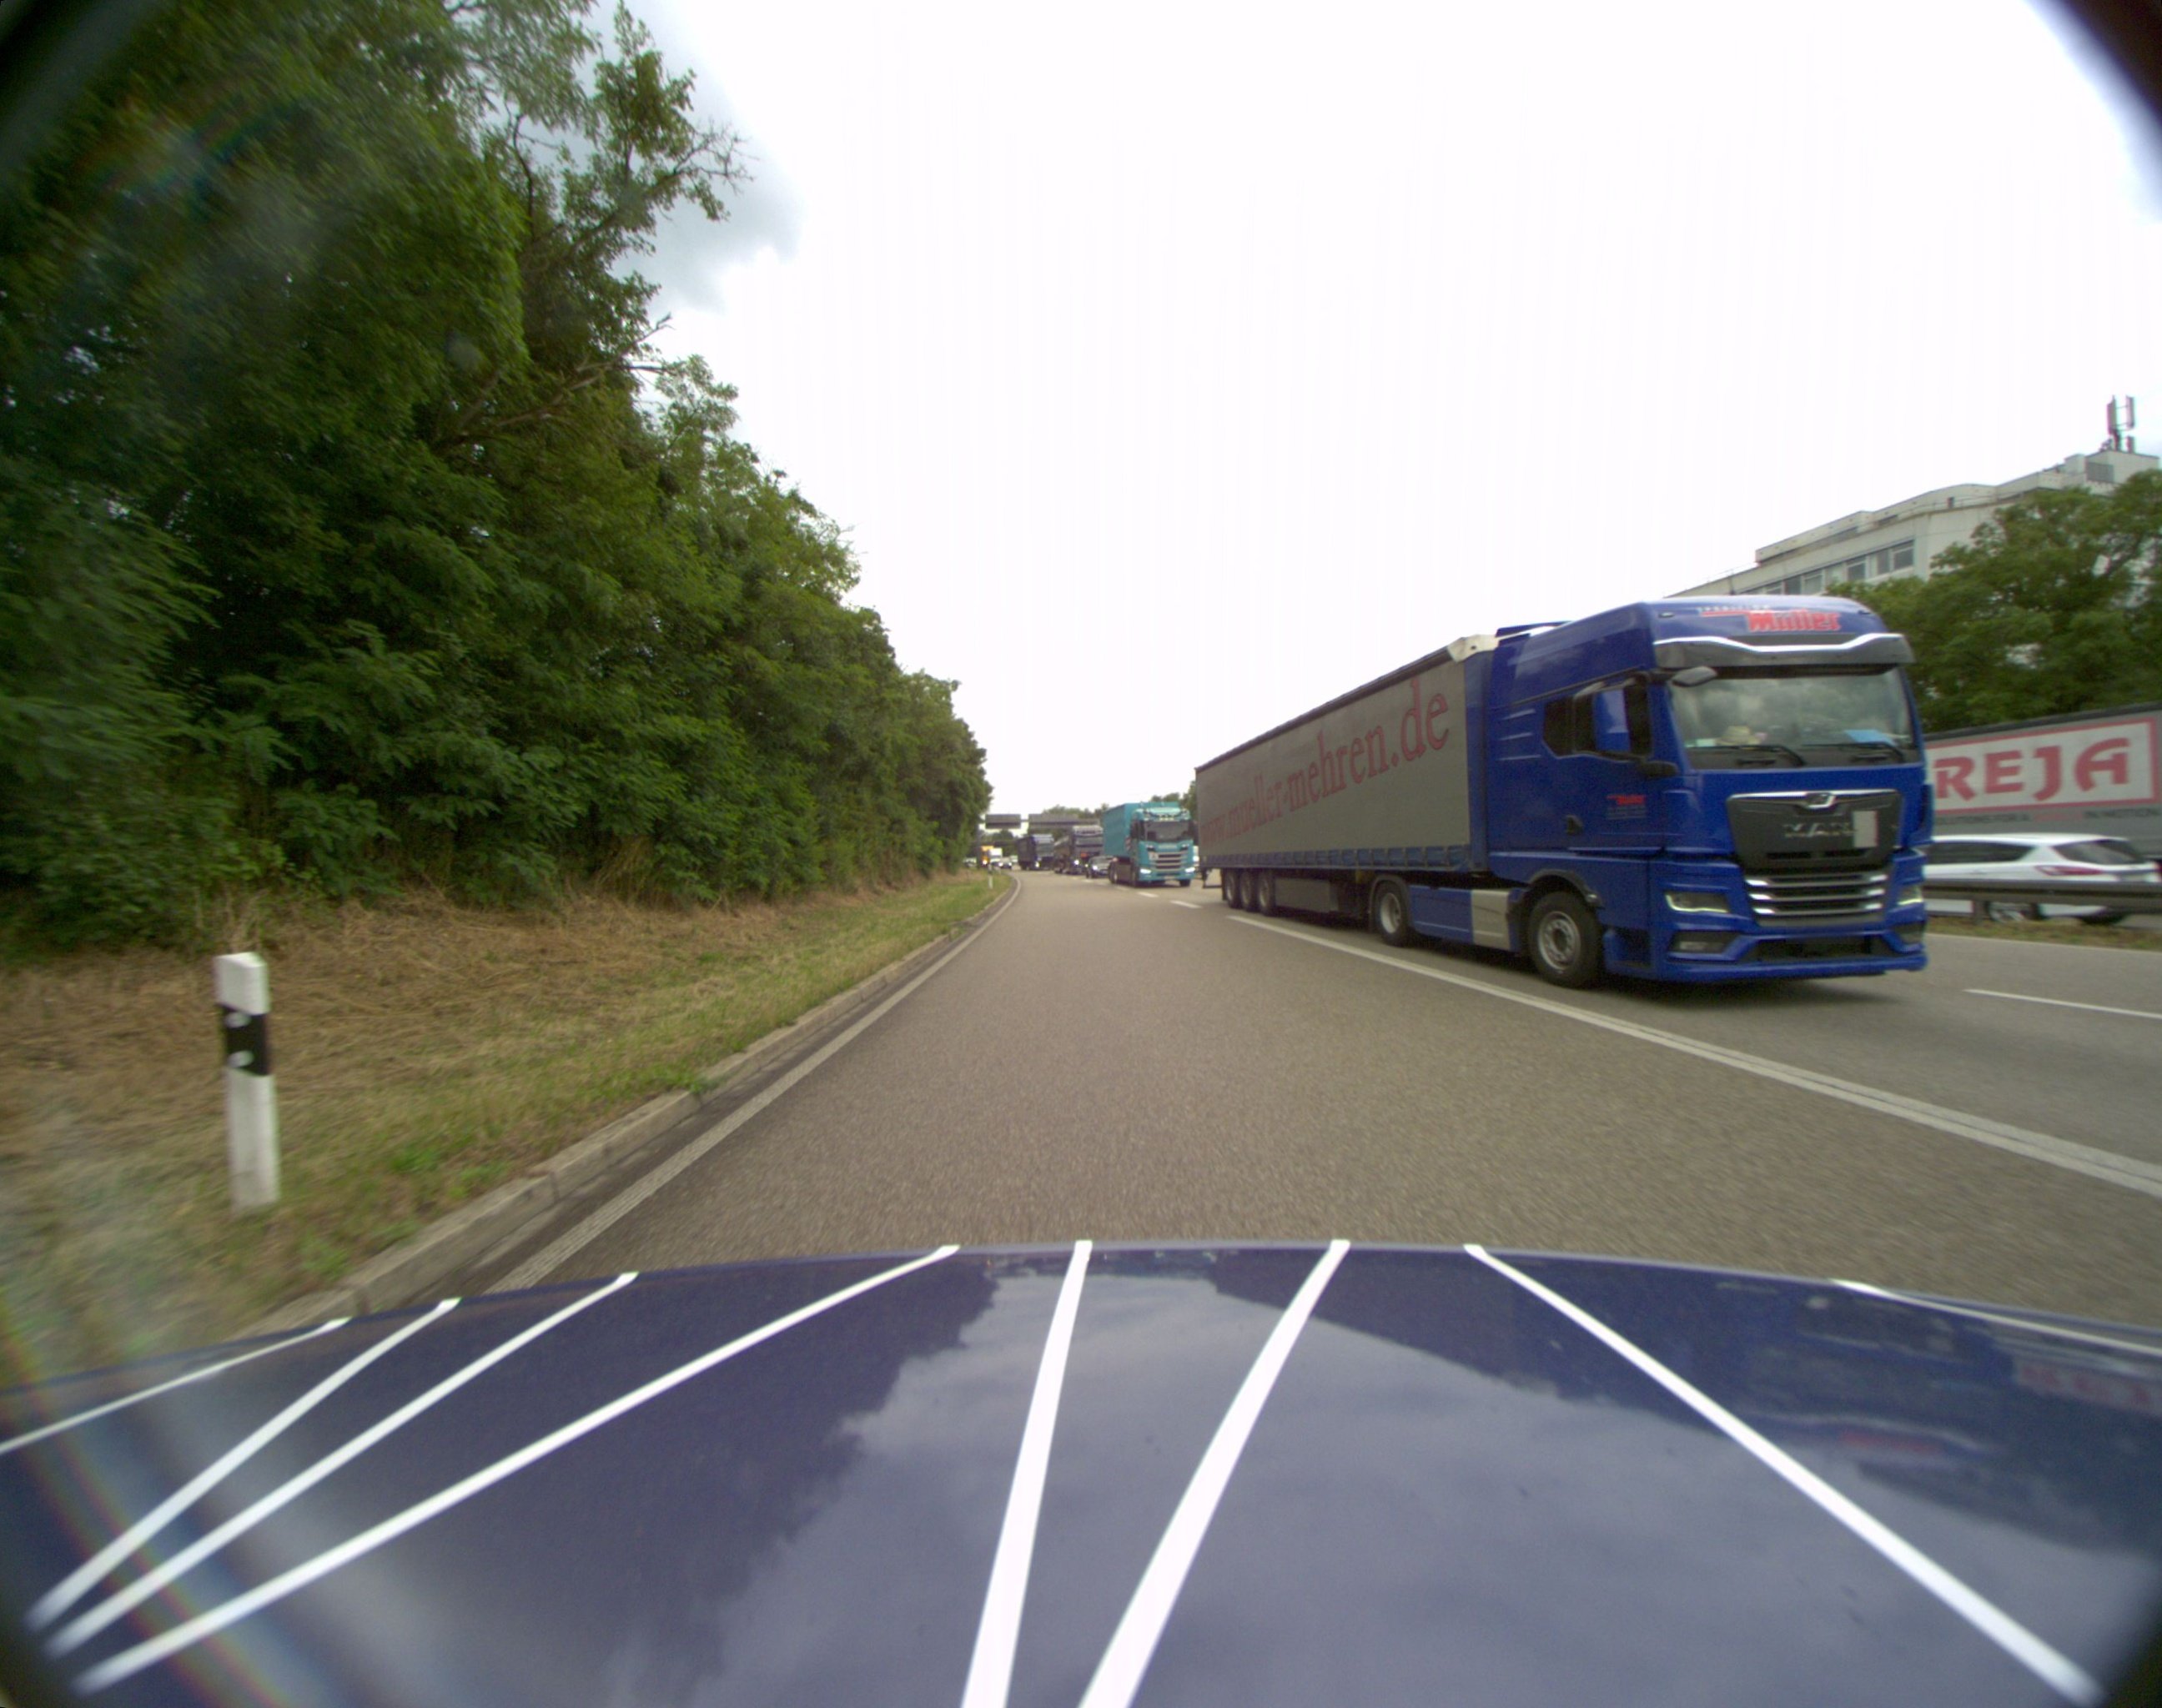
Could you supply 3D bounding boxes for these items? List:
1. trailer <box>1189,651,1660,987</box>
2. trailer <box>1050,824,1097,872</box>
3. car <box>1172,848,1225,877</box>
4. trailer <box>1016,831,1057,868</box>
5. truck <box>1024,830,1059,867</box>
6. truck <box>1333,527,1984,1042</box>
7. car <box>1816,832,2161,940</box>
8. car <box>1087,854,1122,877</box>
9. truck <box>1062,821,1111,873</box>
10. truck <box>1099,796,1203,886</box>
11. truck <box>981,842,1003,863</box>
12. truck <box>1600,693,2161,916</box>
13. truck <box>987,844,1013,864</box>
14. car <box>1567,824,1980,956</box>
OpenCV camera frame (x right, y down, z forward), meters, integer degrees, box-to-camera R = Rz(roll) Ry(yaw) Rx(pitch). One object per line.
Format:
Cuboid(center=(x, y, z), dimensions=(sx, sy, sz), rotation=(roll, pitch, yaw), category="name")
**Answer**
Cuboid(center=(5.209, -0.508, 15.985), dimensions=(2.634, 3.999, 13.455), rotation=(-3, 1, -5), category="trailer")
Cuboid(center=(-0.845, -0.510, 67.591), dimensions=(2.691, 3.884, 10.978), rotation=(-1, 0, -8), category="trailer")
Cuboid(center=(6.763, 0.491, 44.216), dimensions=(2.000, 1.562, 3.997), rotation=(-1, 0, -7), category="car")
Cuboid(center=(-5.531, -0.549, 91.505), dimensions=(2.847, 4.013, 13.071), rotation=(-3, 1, -12), category="trailer")
Cuboid(center=(-4.558, -0.633, 86.030), dimensions=(2.963, 3.946, 7.464), rotation=(-1, 0, -10), category="truck")
Cuboid(center=(5.779, -0.611, 9.363), dimensions=(2.568, 4.019, 6.585), rotation=(-3, 1, -5), category="truck")
Cuboid(center=(16.718, 0.501, 14.222), dimensions=(1.606, 1.679, 4.209), rotation=(-1, 0, -6), category="car")
Cuboid(center=(1.496, 0.706, 50.118), dimensions=(1.753, 1.413, 3.661), rotation=(-1, 0, -7), category="car")
Cuboid(center=(0.307, -0.537, 60.541), dimensions=(2.692, 3.884, 6.930), rotation=(-1, 0, -9), category="truck")
Cuboid(center=(3.107, -0.558, 37.708), dimensions=(2.938, 3.774, 11.324), rotation=(-1, 0, -6), category="truck")
Cuboid(center=(-18.951, -0.295, 161.605), dimensions=(3.369, 4.041, 10.171), rotation=(-3, 1, -14), category="truck")
Cuboid(center=(20.691, -0.941, 19.830), dimensions=(2.994, 4.066, 14.879), rotation=(-1, 0, -5), category="truck")
Cuboid(center=(-14.266, -0.014, 132.871), dimensions=(3.369, 3.099, 7.230), rotation=(-3, 1, -14), category="truck")
Cuboid(center=(10.281, 0.457, 11.970), dimensions=(1.999, 1.609, 4.787), rotation=(-2, 0, -3), category="car")
